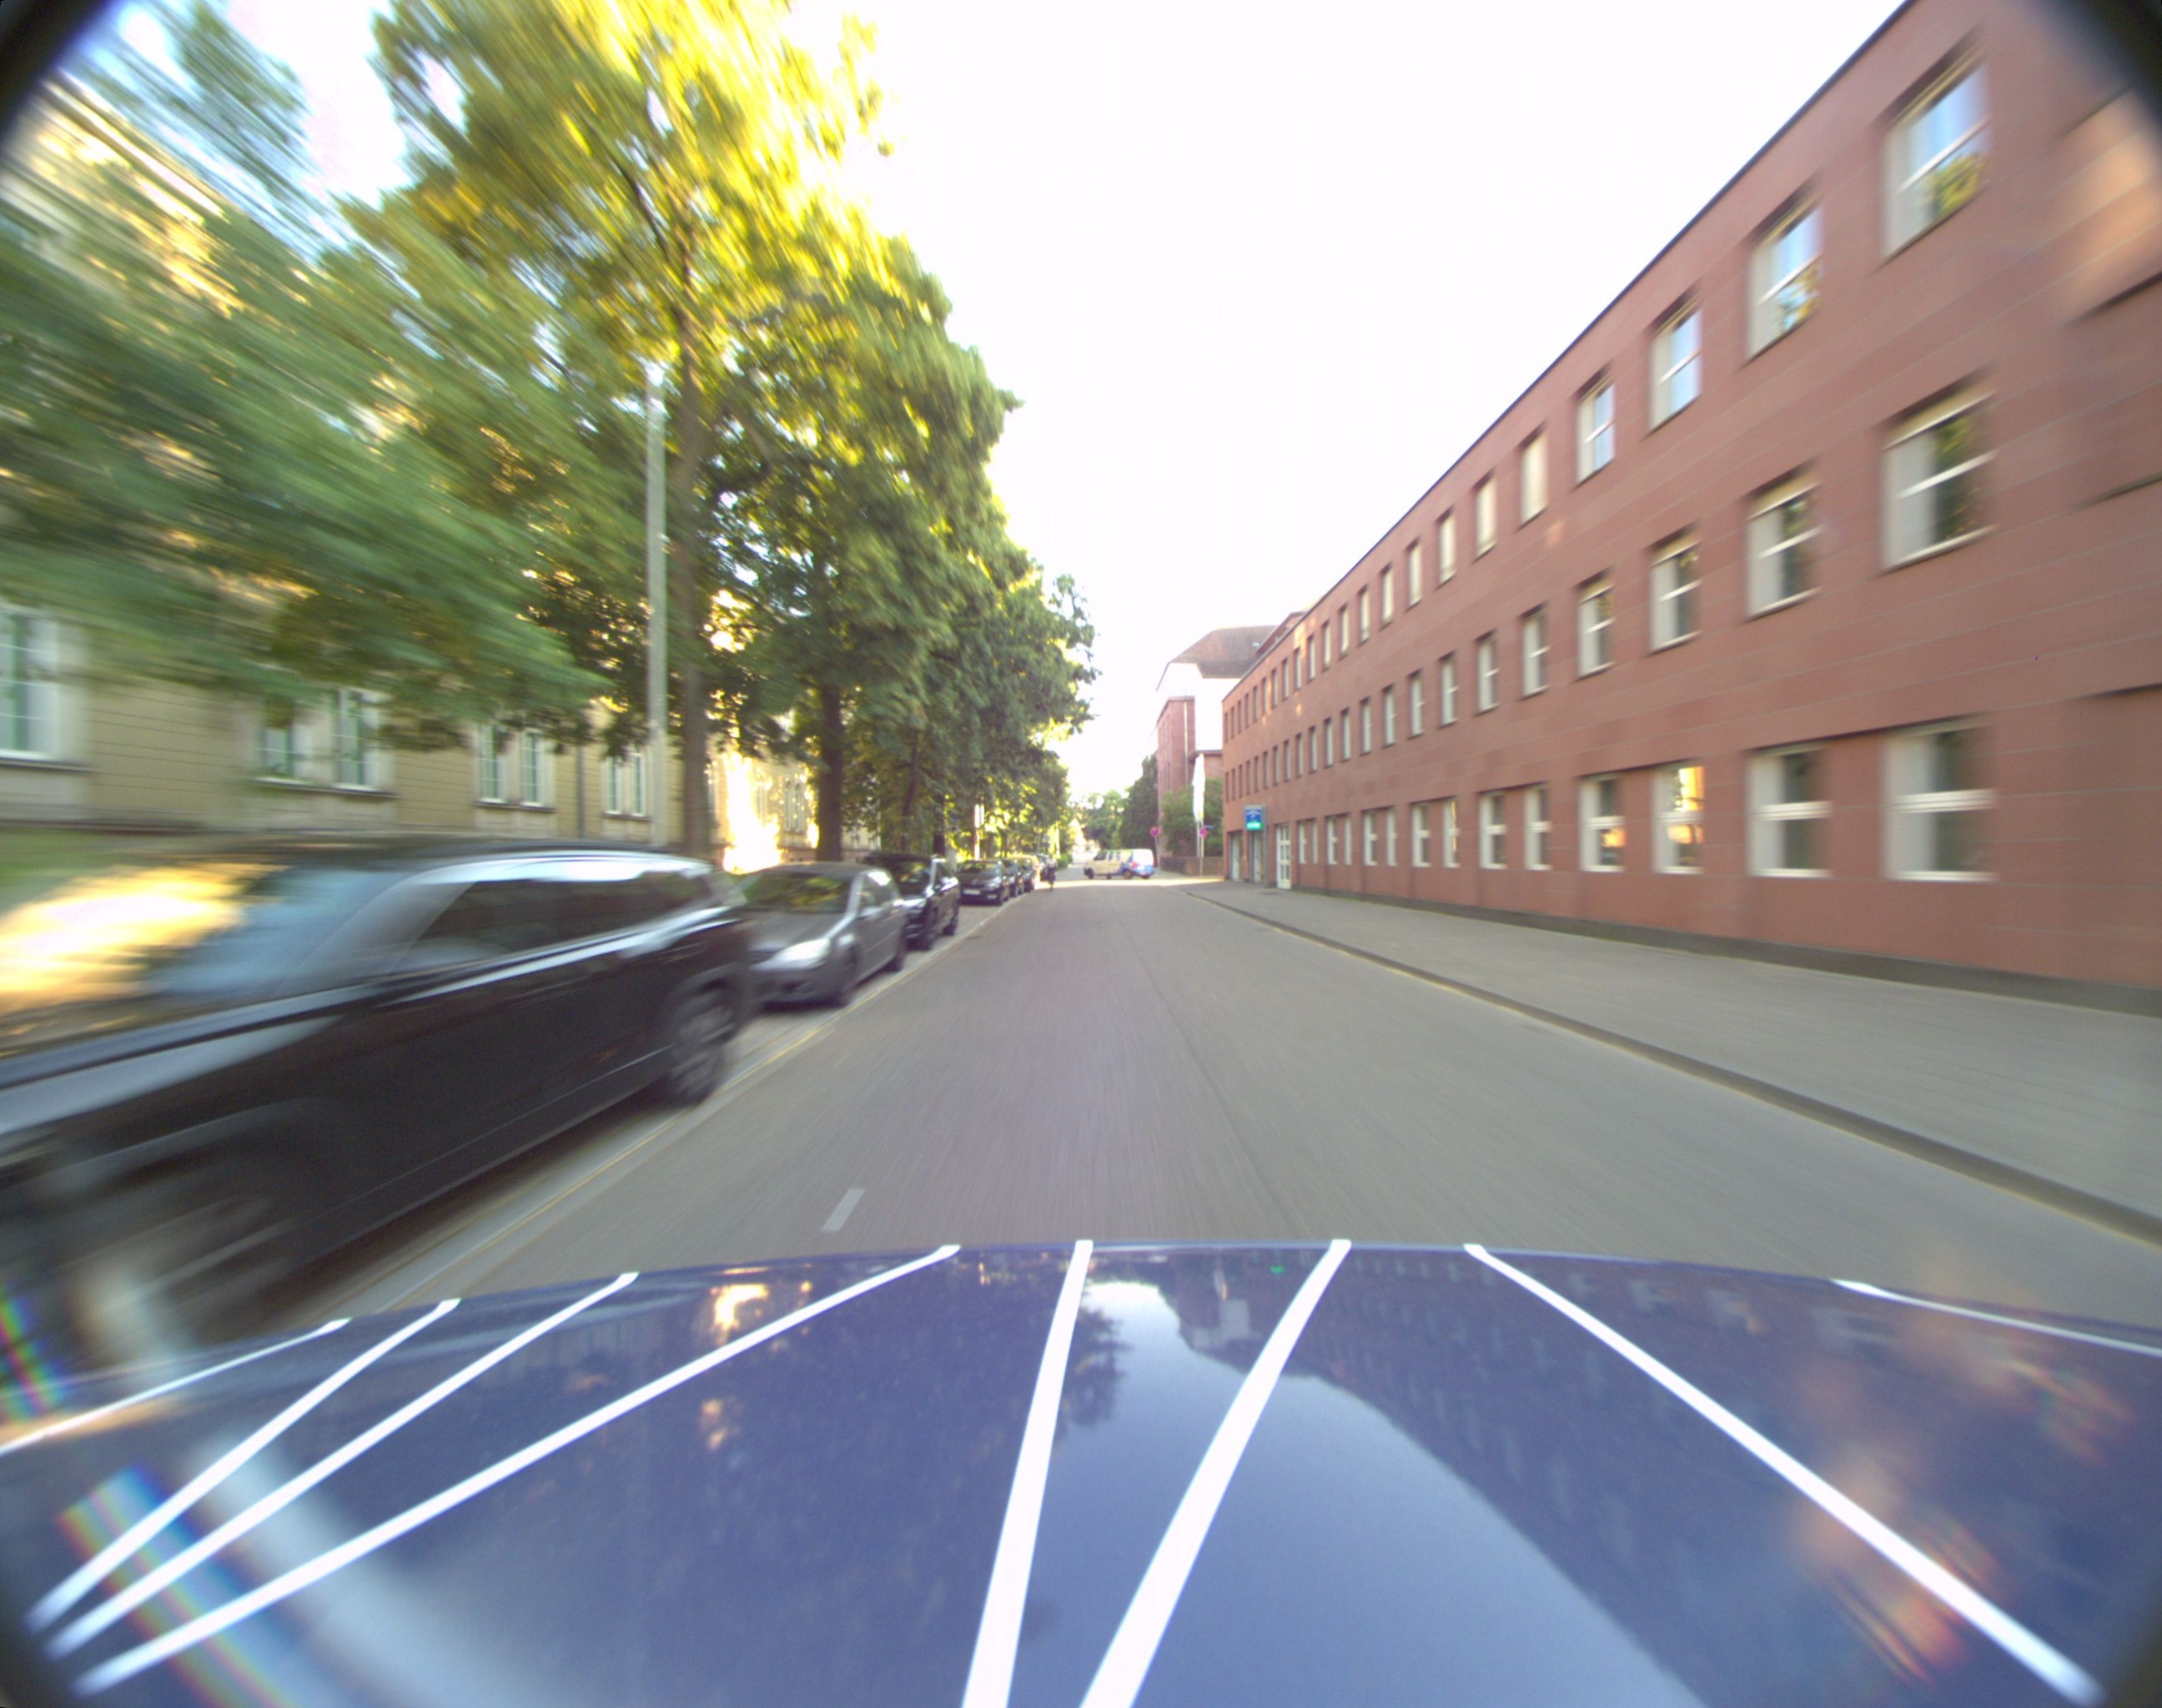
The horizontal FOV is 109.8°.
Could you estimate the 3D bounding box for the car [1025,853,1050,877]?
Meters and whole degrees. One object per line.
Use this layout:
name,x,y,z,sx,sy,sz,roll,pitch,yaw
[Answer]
car,-3.087,0.763,54.456,1.728,1.580,3.968,0,1,-2

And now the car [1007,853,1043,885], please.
car,-3.099,0.810,43.015,1.728,1.673,4.498,0,1,0

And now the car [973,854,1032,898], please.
car,-3.148,0.852,31.162,1.728,1.525,4.189,3,1,3

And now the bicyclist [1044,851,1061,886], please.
bicyclist,-1.342,0.668,35.784,0.753,1.603,1.038,0,0,-2

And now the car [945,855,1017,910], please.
car,-3.237,0.876,25.331,1.739,1.498,4.521,3,1,0

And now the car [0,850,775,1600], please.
car,-3.215,0.835,3.183,1.728,1.642,4.713,0,1,3

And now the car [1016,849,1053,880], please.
car,-2.929,0.642,48.710,1.809,1.803,4.947,0,1,3

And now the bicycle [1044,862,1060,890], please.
bicycle,-1.362,1.013,35.767,0.753,1.245,2.209,0,0,-2

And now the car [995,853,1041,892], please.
car,-2.904,0.825,35.948,1.728,1.525,4.622,4,1,0

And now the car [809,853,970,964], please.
car,-3.345,0.872,14.200,1.811,1.641,4.418,3,0,0

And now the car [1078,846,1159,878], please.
car,2.346,0.558,48.556,2.004,1.863,5.095,0,-2,-44

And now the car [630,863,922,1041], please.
car,-3.160,0.903,8.890,1.728,1.529,4.189,0,0,0
